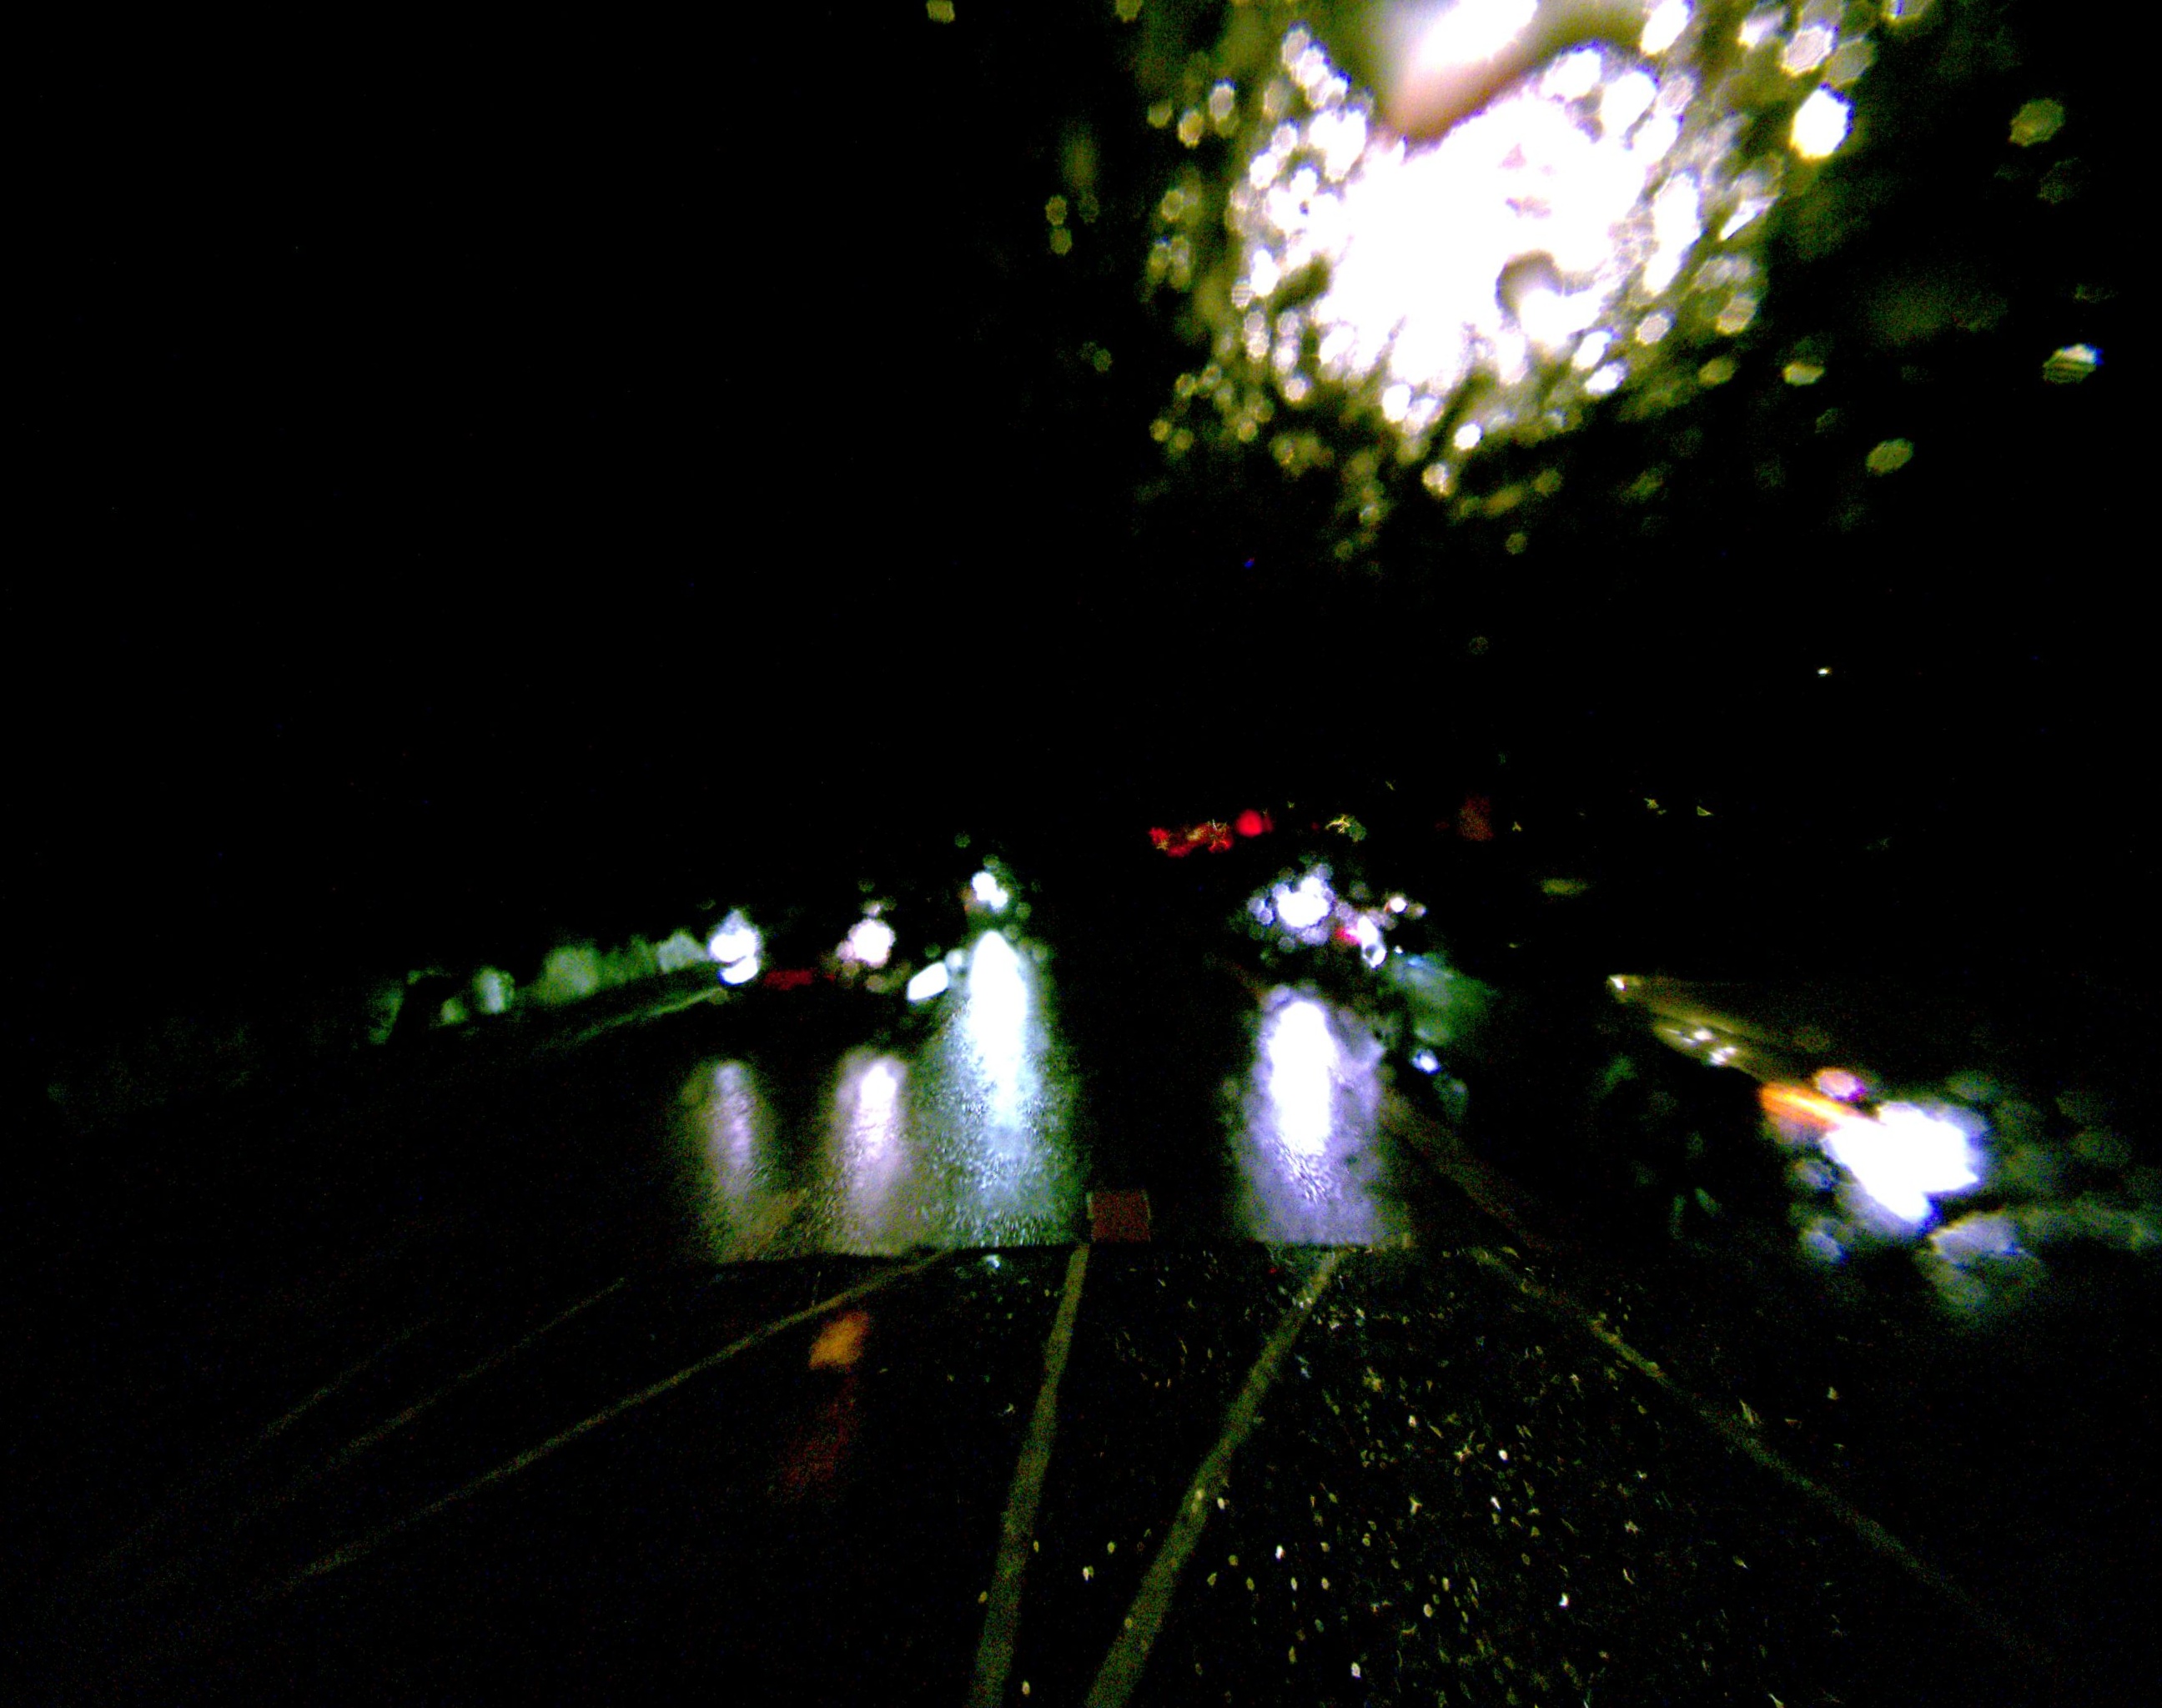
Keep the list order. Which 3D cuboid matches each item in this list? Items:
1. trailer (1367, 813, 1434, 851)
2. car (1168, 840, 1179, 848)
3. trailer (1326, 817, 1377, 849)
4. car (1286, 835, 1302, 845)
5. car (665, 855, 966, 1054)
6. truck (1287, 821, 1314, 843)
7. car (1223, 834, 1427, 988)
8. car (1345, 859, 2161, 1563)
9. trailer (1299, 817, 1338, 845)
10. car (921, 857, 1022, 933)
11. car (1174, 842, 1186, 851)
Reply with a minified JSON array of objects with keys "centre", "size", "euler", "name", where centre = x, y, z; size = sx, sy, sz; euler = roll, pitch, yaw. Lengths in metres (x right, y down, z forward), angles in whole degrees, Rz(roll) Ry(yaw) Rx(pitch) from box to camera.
[{"centre":[44.406,-3.049,106.376],"size":[3.980,4.584,14.248],"euler":[-6,1,5],"name":"trailer"},{"centre":[20.003,-2.119,164.380],"size":[1.806,1.579,4.031],"euler":[-3,1,3],"name":"car"},{"centre":[45.449,-3.575,128.378],"size":[3.980,4.584,15.516],"euler":[-6,1,5],"name":"trailer"},{"centre":[37.757,-2.475,134.477],"size":[1.790,1.684,4.219],"euler":[-4,0,4],"name":"car"},{"centre":[-2.683,0.907,8.872],"size":[1.790,1.684,4.219],"euler":[-2,0,3],"name":"car"},{"centre":[49.406,-4.929,171.415],"size":[3.446,4.584,10.213],"euler":[-6,1,5],"name":"truck"},{"centre":[3.295,0.661,11.194],"size":[1.788,1.772,4.437],"euler":[-2,0,4],"name":"car"},{"centre":[2.977,0.821,3.906],"size":[1.788,1.502,4.436],"euler":[-1,1,1],"name":"car"},{"centre":[48.112,-4.686,154.331],"size":[3.980,4.984,14.836],"euler":[-6,1,5],"name":"trailer"},{"centre":[-2.677,0.944,19.589],"size":[1.788,1.638,4.436],"euler":[-3,0,1],"name":"car"},{"centre":[18.660,-1.421,143.217],"size":[1.765,1.632,4.652],"euler":[-3,1,2],"name":"car"}]
